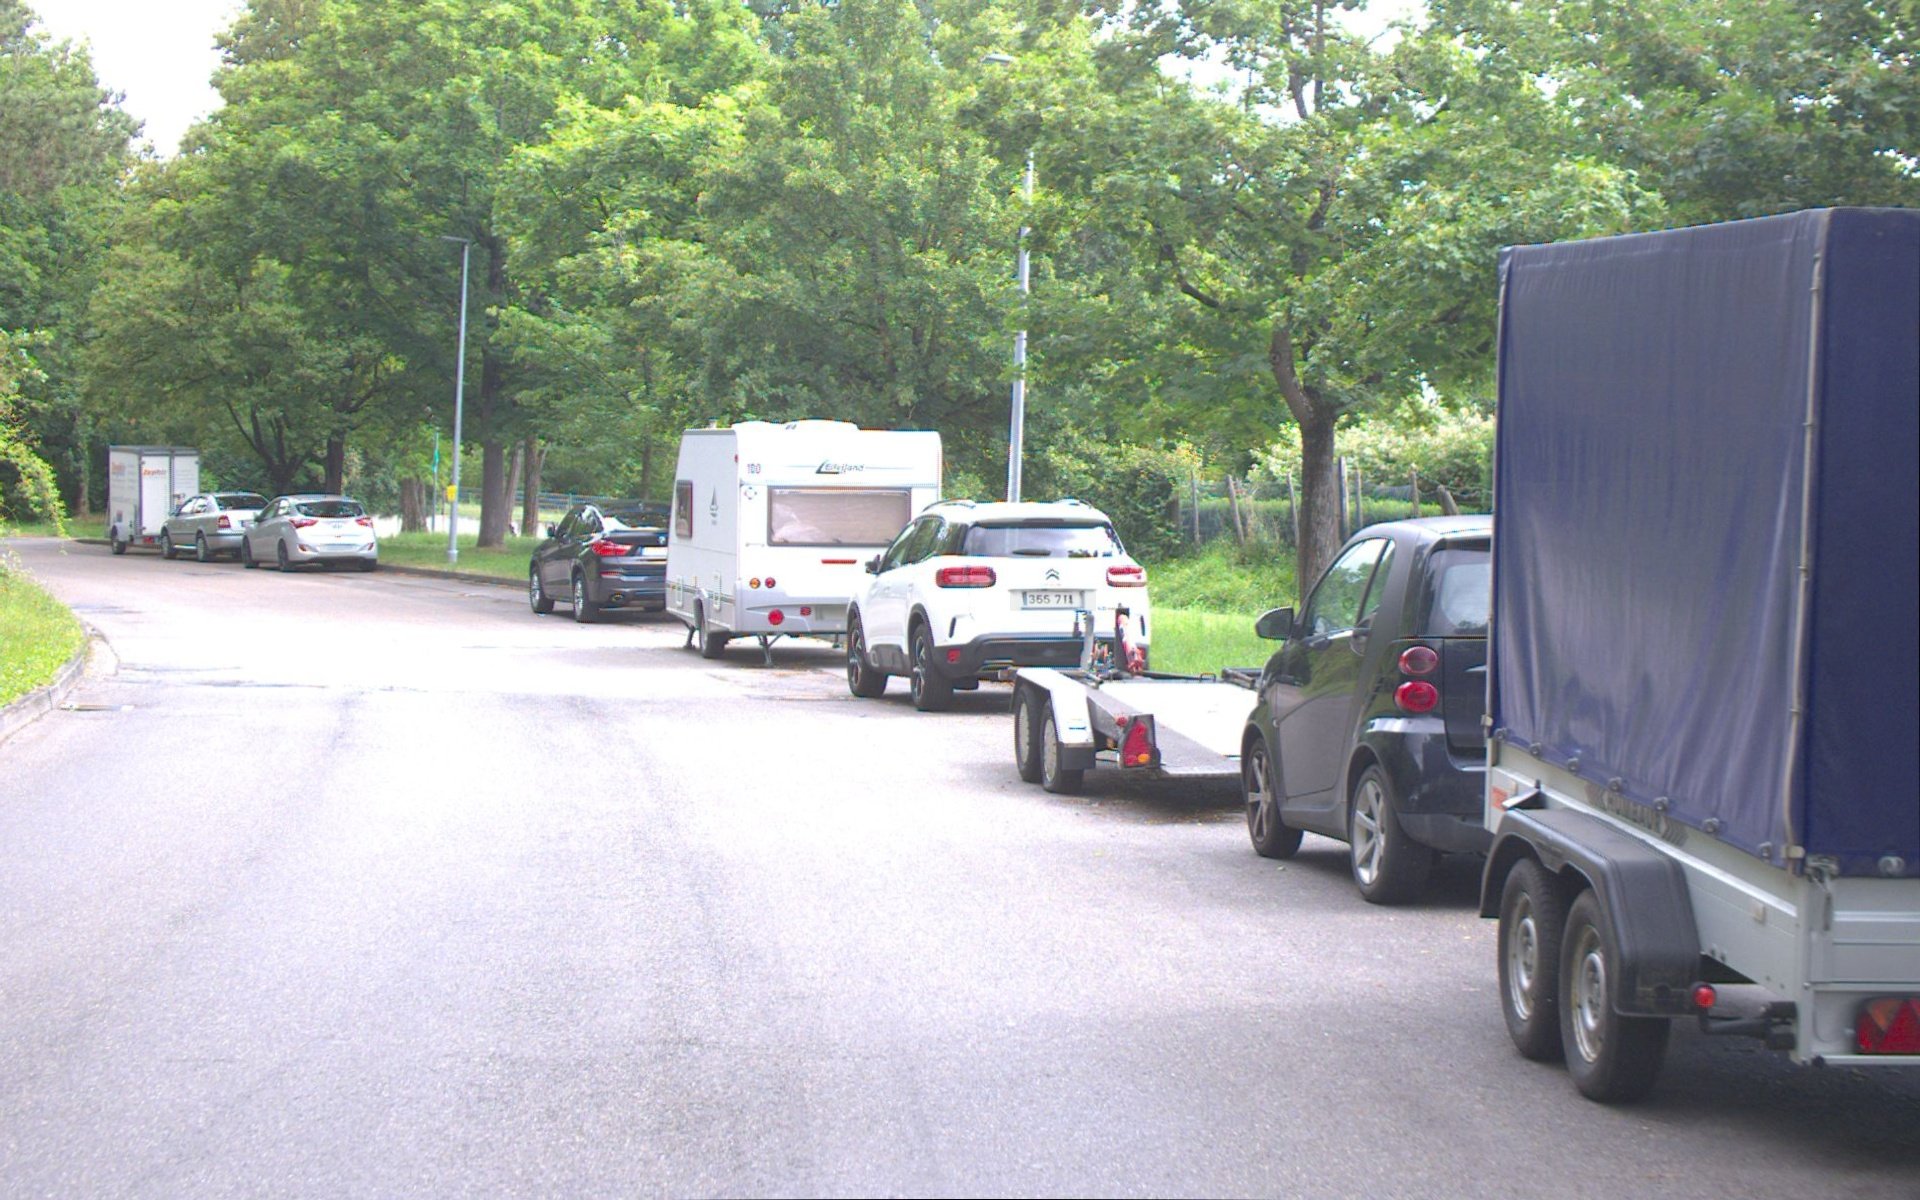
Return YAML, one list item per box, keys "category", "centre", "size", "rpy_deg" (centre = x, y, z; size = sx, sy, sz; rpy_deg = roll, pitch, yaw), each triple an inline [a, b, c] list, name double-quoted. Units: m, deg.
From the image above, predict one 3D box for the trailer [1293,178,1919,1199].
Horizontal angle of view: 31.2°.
- category: "trailer"
  centre: [2.504, 0.088, 10.202]
  size: [2.106, 2.353, 4.703]
  rpy_deg: [-1, 3, -6]

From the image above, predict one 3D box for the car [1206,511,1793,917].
- category: "car"
  centre: [2.198, 0.442, 14.894]
  size: [1.729, 1.517, 3.405]
  rpy_deg: [2, 0, -4]

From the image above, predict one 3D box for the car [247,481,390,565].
- category: "car"
  centre: [-12.472, -1.470, 66.627]
  size: [1.902, 1.471, 4.060]
  rpy_deg: [2, -1, -22]

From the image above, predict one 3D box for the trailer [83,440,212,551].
- category: "trailer"
  centre: [-18.295, -2.357, 77.285]
  size: [1.760, 2.418, 3.887]
  rpy_deg: [-1, 2, -30]

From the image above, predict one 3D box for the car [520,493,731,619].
- category: "car"
  centre: [-4.670, -0.640, 47.367]
  size: [1.848, 1.637, 4.532]
  rpy_deg: [0, 2, -19]

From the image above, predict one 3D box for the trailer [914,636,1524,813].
- category: "trailer"
  centre: [1.285, 0.666, 20.581]
  size: [2.103, 0.649, 6.403]
  rpy_deg: [2, 1, -10]

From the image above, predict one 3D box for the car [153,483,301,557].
- category: "car"
  centre: [-15.518, -1.710, 72.648]
  size: [1.741, 1.520, 4.636]
  rpy_deg: [-1, 2, -30]

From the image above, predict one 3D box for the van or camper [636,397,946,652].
- category: "van or camper"
  centre: [-1.985, -0.830, 37.879]
  size: [2.160, 2.527, 6.034]
  rpy_deg: [2, 1, -15]

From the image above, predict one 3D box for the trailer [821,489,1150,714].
- category: "trailer"
  centre: [0.117, -0.020, 28.945]
  size: [1.772, 1.725, 4.652]
  rpy_deg: [-1, 1, -12]
